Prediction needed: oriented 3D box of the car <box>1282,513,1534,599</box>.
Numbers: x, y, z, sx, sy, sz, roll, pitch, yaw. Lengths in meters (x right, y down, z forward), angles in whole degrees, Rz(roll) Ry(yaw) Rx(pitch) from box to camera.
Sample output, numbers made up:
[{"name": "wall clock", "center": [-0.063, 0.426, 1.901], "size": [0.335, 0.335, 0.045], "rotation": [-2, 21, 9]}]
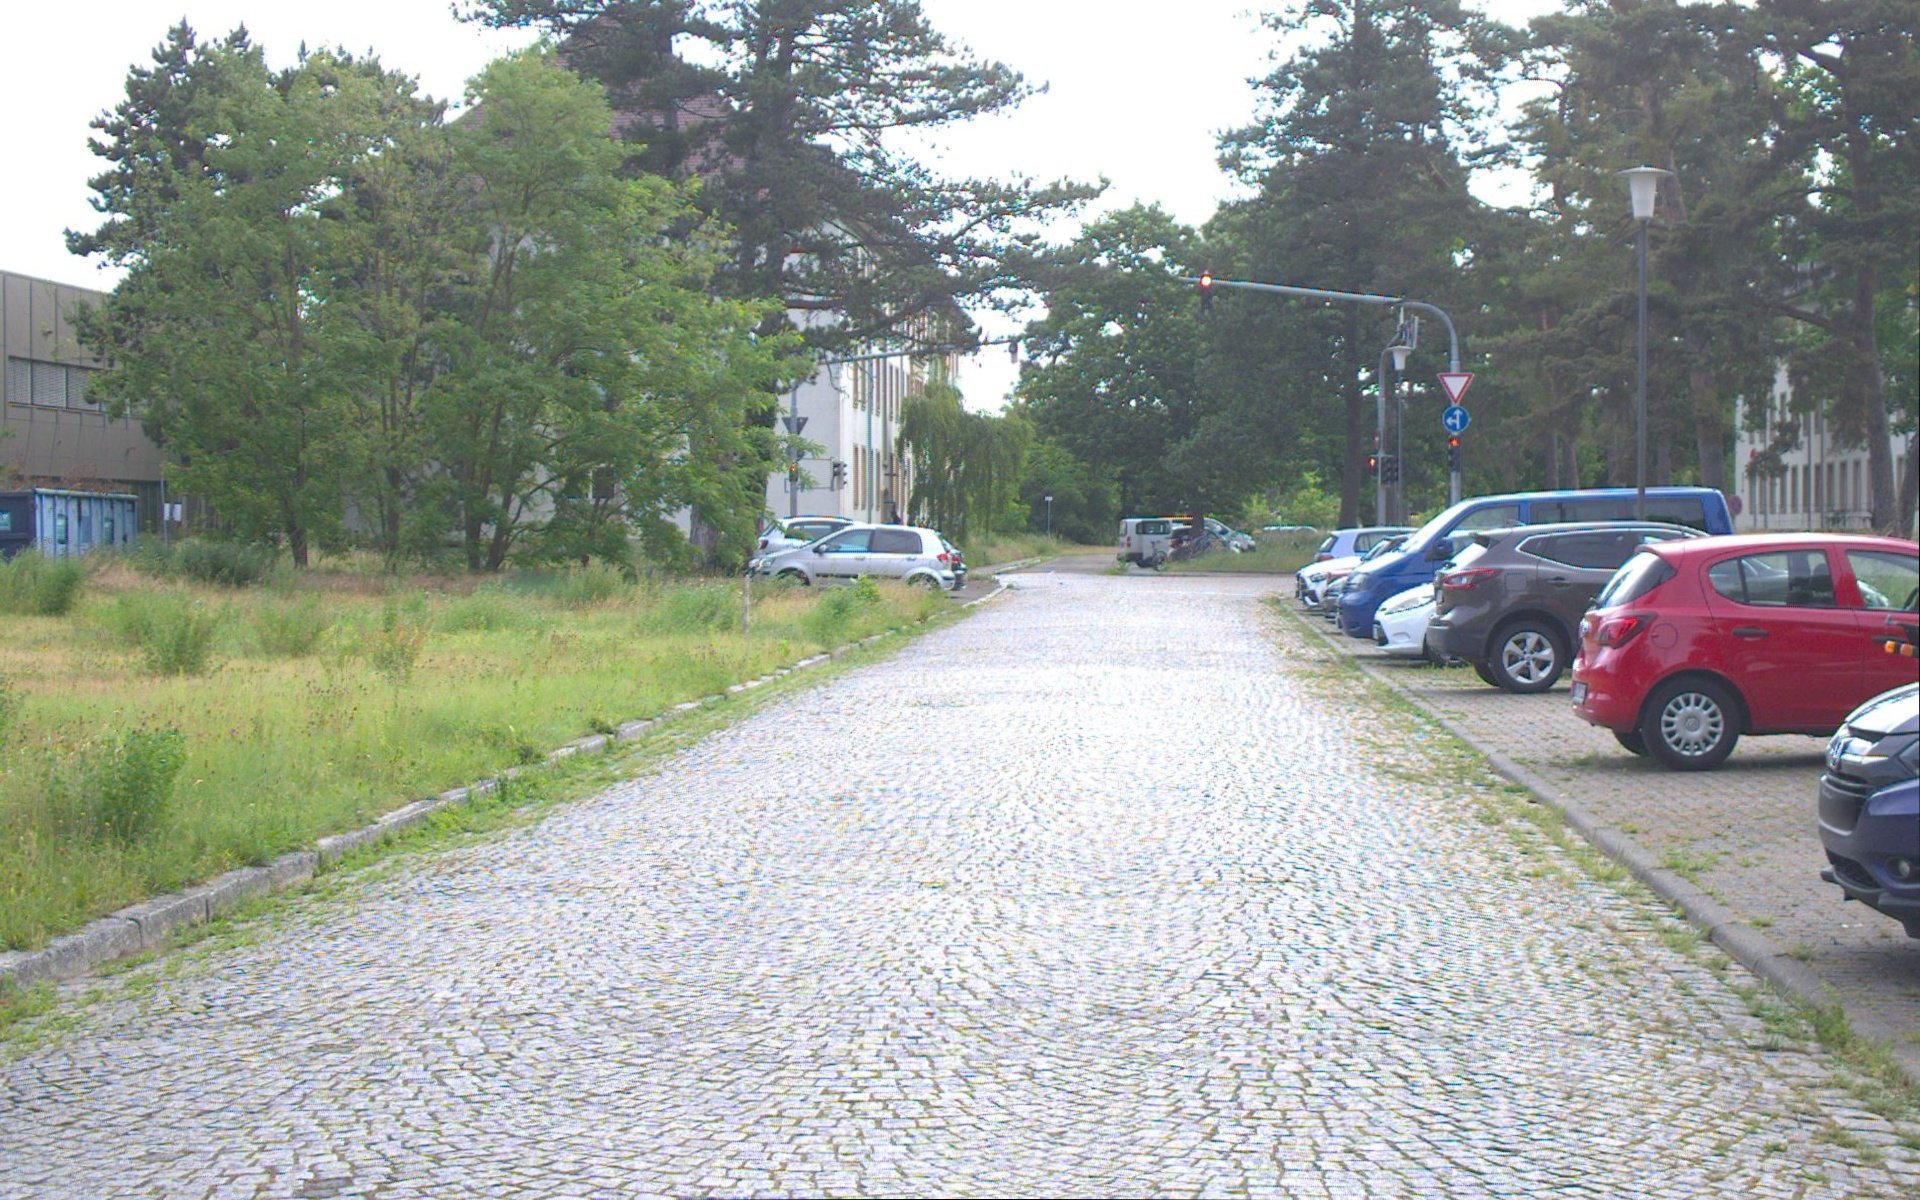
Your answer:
[{"name": "car", "center": [8.141, -0.809, 62.644], "size": [4.228, 1.474, 1.710], "rotation": [-1, 1, -7]}]

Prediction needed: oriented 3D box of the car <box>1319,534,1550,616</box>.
[{"name": "car", "center": [7.584, -0.410, 55.201], "size": [3.587, 1.218, 1.628], "rotation": [-1, 1, 5]}]

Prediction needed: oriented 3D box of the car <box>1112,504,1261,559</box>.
[{"name": "car", "center": [8.707, -2.640, 132.215], "size": [5.375, 2.094, 2.179], "rotation": [0, 1, -8]}]

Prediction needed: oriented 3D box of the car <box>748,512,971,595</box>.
[{"name": "car", "center": [-1.972, -0.928, 67.563], "size": [4.297, 1.548, 1.812], "rotation": [-1, 1, -2]}]

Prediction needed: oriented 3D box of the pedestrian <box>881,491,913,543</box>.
[{"name": "pedestrian", "center": [-2.395, -3.152, 130.660], "size": [1.074, 1.952, 1.121], "rotation": [1, 1, 4]}]

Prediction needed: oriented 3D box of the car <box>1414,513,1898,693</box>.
[{"name": "car", "center": [6.532, 0.004, 32.617], "size": [4.203, 1.589, 1.953], "rotation": [-1, 1, 2]}]

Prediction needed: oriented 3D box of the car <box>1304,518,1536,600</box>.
[{"name": "car", "center": [8.700, -0.794, 65.166], "size": [4.135, 1.458, 1.634], "rotation": [-1, 1, -1]}]

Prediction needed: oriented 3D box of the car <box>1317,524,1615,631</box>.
[{"name": "car", "center": [7.275, -0.334, 49.717], "size": [4.131, 1.442, 1.765], "rotation": [-1, 1, 4]}]

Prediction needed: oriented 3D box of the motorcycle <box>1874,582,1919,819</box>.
[{"name": "motorcycle", "center": [5.939, 0.496, 17.832], "size": [2.230, 1.197, 0.568], "rotation": [-1, 1, 2]}]

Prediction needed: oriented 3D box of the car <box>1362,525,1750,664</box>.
[{"name": "car", "center": [6.710, -0.080, 38.976], "size": [4.097, 1.473, 1.722], "rotation": [-1, 1, 1]}]

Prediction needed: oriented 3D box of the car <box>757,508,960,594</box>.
[{"name": "car", "center": [-1.896, -0.930, 64.955], "size": [3.720, 1.475, 1.673], "rotation": [2, 1, 1]}]

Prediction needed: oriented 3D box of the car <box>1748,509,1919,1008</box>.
[{"name": "car", "center": [5.093, 0.469, 12.064], "size": [4.245, 1.617, 1.887], "rotation": [-1, 1, 2]}]

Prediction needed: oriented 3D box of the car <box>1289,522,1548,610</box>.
[{"name": "car", "center": [7.957, -0.606, 59.888], "size": [4.185, 1.432, 1.755], "rotation": [-1, 1, -3]}]

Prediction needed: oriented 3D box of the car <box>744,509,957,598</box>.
[{"name": "car", "center": [-2.235, -0.970, 70.392], "size": [4.297, 1.726, 1.653], "rotation": [-1, 1, -1]}]

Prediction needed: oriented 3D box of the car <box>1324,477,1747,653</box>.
[{"name": "car", "center": [6.884, -0.434, 41.507], "size": [4.796, 1.997, 1.966], "rotation": [-1, 1, 2]}]

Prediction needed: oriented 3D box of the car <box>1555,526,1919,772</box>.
[{"name": "car", "center": [5.968, 0.278, 22.330], "size": [3.923, 1.491, 1.785], "rotation": [-1, 1, 2]}]
